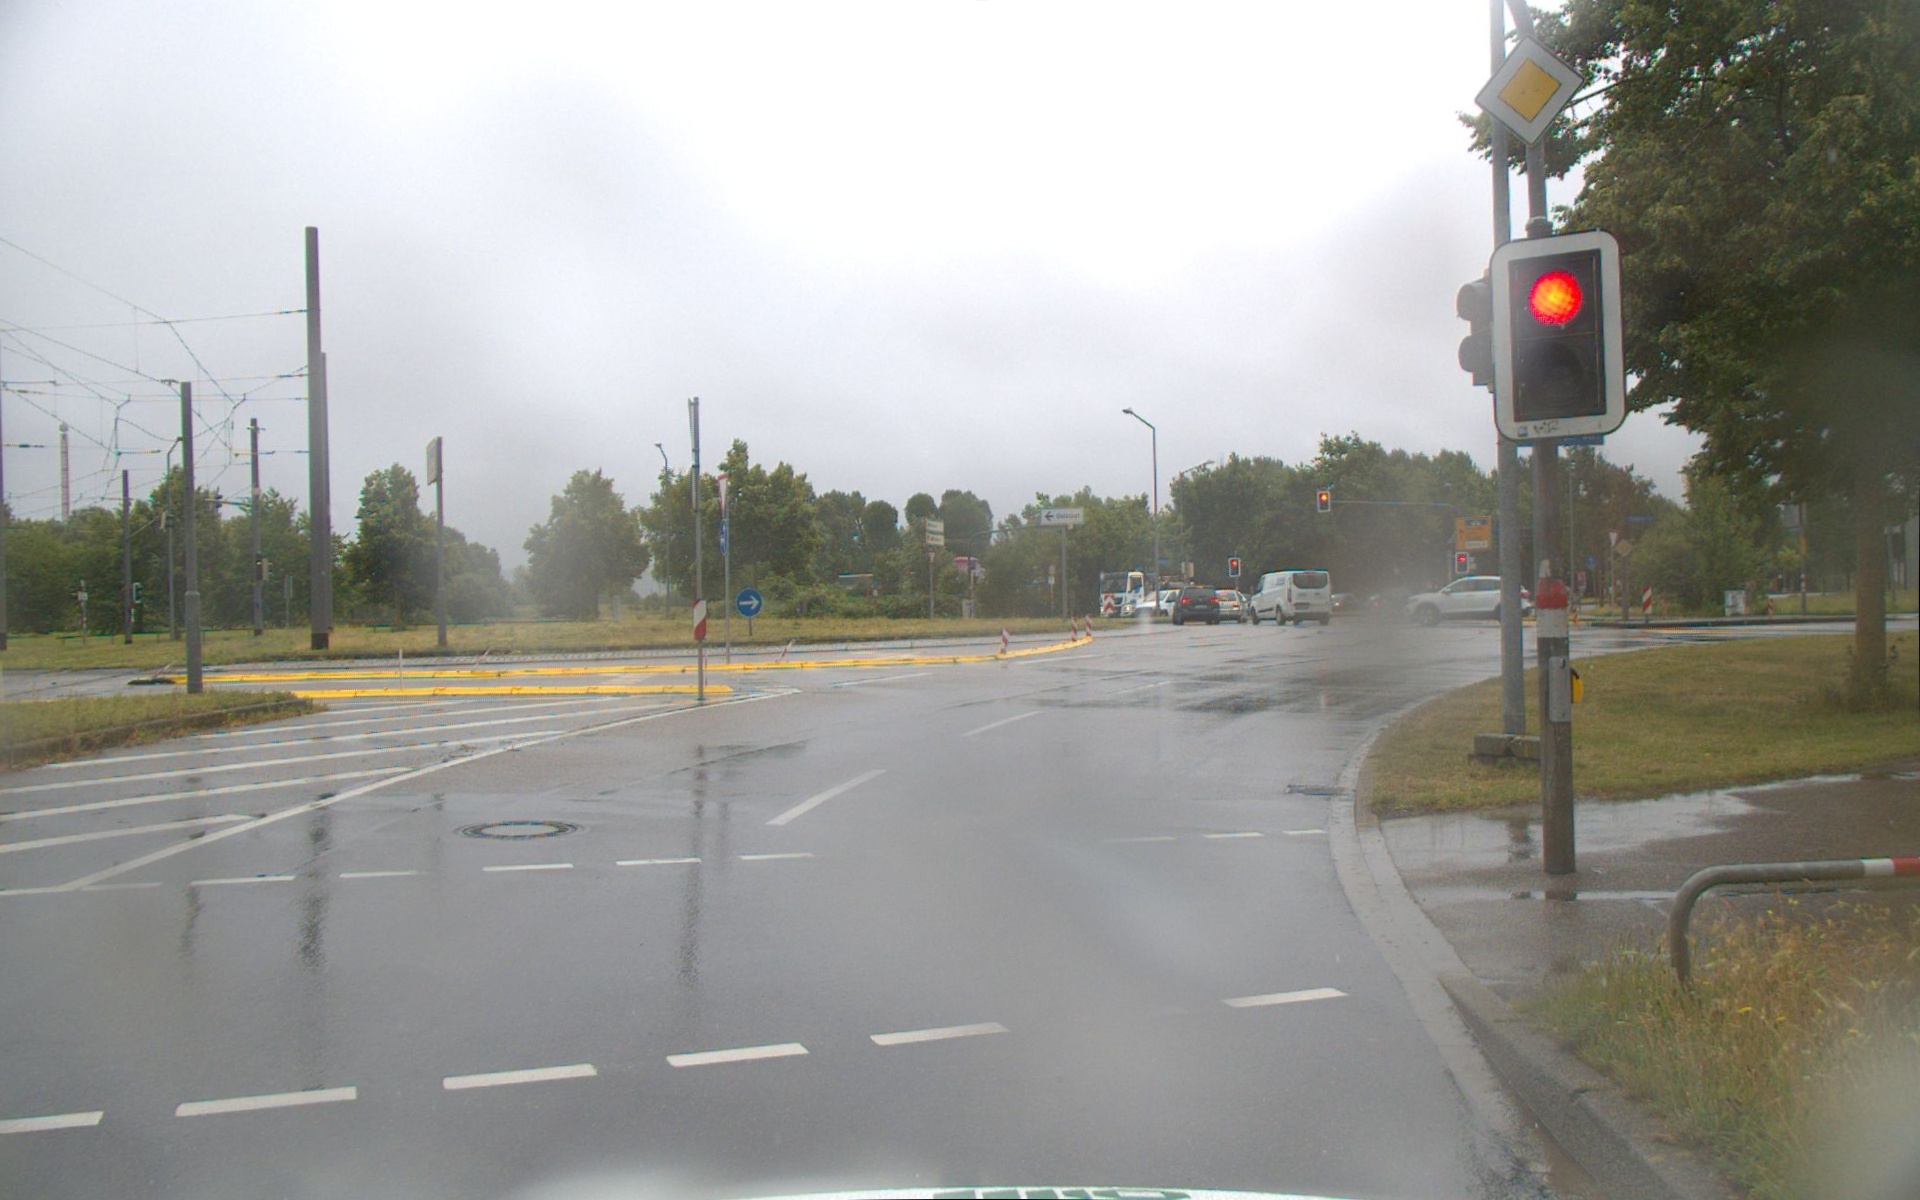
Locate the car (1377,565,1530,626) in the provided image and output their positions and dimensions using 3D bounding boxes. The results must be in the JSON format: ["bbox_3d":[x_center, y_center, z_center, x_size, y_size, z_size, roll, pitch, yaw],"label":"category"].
[{"bbox_3d":[16.260,-0.154,54.448,4.662,1.883,2.000,-1,0,21],"label":"car"}]

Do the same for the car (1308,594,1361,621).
[{"bbox_3d":[24.414,0.478,107.705,1.769,1.691,3.979,0,-1,40],"label":"car"}]

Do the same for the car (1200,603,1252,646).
[{"bbox_3d":[12.472,1.153,77.330,1.951,1.884,4.779,1,-1,14],"label":"car"}]

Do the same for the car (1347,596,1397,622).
[{"bbox_3d":[28.142,0.622,112.971,1.769,1.691,3.979,0,-1,40],"label":"car"}]

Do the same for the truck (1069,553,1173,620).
[{"bbox_3d":[7.316,-0.540,74.074,2.411,2.733,8.058,1,-1,22],"label":"truck"}]

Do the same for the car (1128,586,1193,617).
[{"bbox_3d":[11.652,0.073,96.032,1.769,1.691,4.112,0,-1,40],"label":"car"}]

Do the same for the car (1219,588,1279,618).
[{"bbox_3d":[17.113,0.204,97.911,1.769,1.691,3.979,0,-1,40],"label":"car"}]

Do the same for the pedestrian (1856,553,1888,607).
[{"bbox_3d":[33.168,-0.722,60.163,0.799,1.901,0.668,1,-1,7],"label":"pedestrian"}]

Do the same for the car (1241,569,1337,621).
[{"bbox_3d":[12.559,-0.160,63.498,1.958,1.884,4.763,1,-1,-11],"label":"car"}]

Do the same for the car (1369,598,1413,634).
[{"bbox_3d":[18.589,0.676,71.404,1.583,1.479,3.991,-1,0,11],"label":"car"}]

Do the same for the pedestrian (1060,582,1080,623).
[{"bbox_3d":[3.629,0.090,54.387,0.445,1.327,0.484,-1,0,38],"label":"pedestrian"}]

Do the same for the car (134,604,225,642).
[{"bbox_3d":[-40.089,1.198,85.048,1.644,1.848,3.994,1,-1,28],"label":"car"}]

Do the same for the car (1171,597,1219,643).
[{"bbox_3d":[10.198,0.868,71.558,1.951,1.884,4.779,1,-1,9],"label":"car"}]
